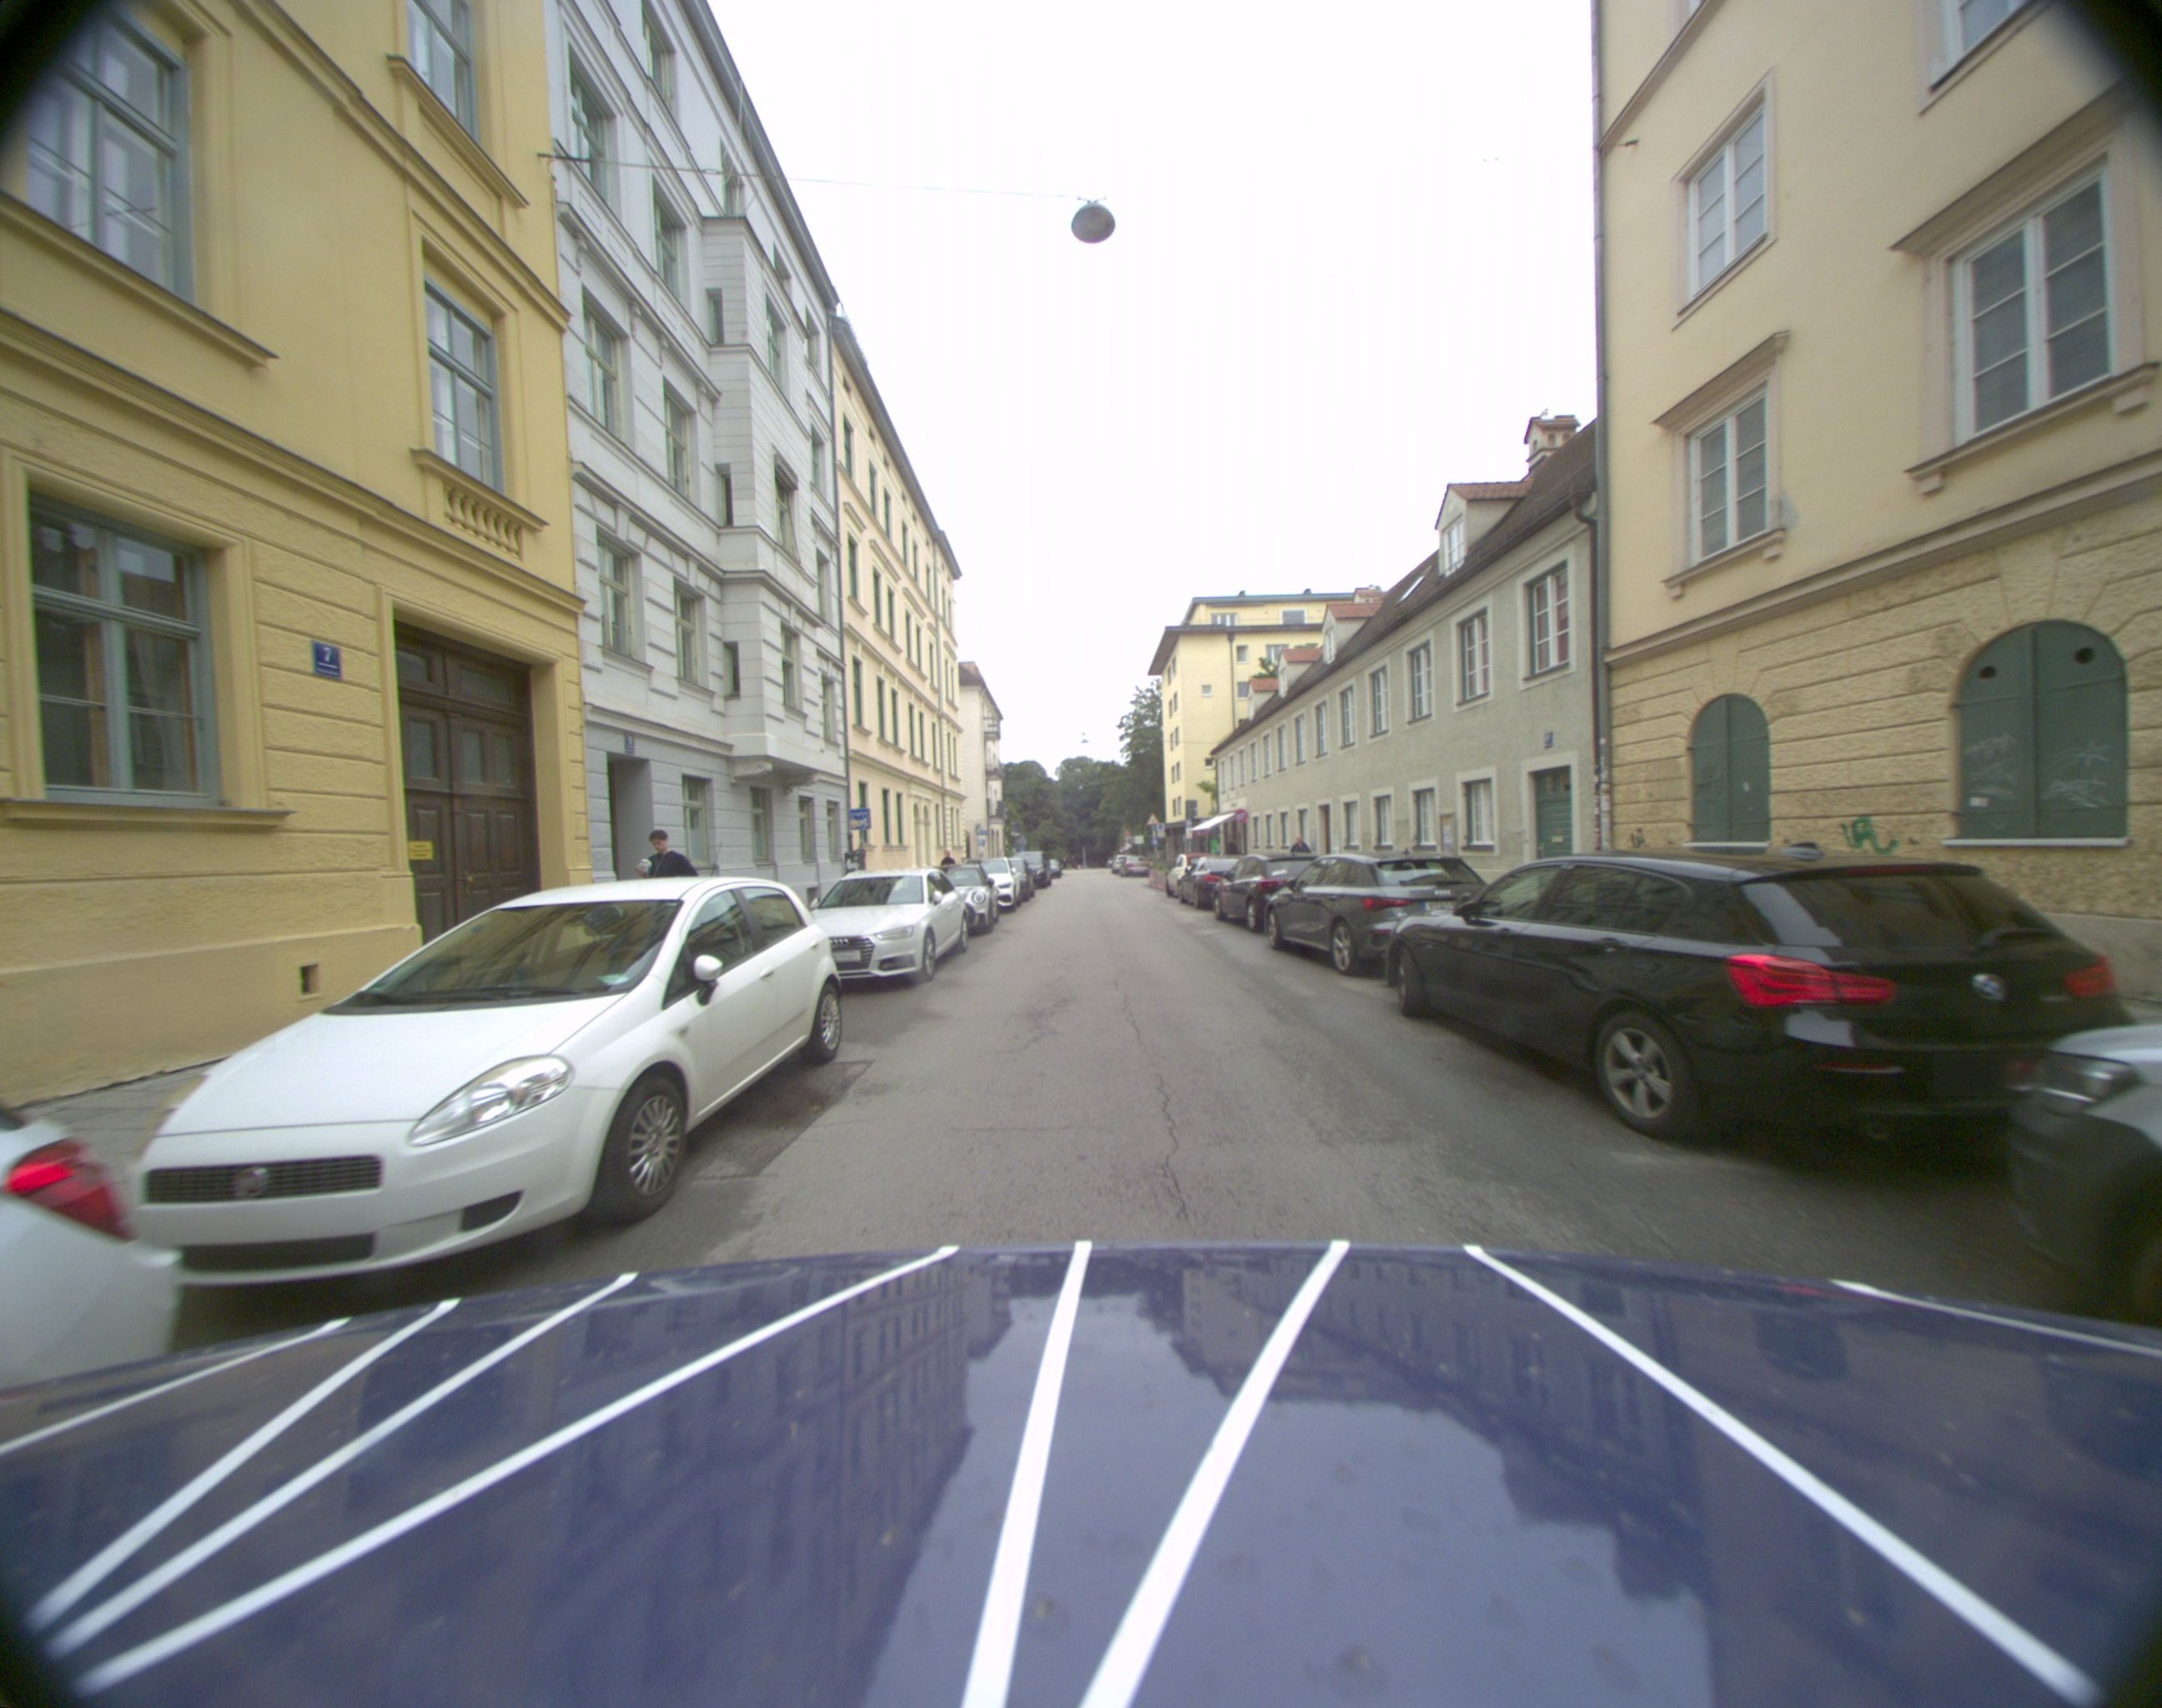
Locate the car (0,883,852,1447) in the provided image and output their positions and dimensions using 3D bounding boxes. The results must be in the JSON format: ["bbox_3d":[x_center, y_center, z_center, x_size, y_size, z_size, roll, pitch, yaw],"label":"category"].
[{"bbox_3d":[-2.764,1.021,4.339,1.712,1.446,4.095,-3,1,-2],"label":"car"}]

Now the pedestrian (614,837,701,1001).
[{"bbox_3d":[-5.268,0.781,9.493,0.671,1.969,0.708,1,2,1],"label":"pedestrian"}]

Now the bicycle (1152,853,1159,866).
[{"bbox_3d":[7.485,0.547,76.412,0.563,1.203,1.854,-3,1,3],"label":"bicycle"}]

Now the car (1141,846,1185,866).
[{"bbox_3d":[9.166,0.235,85.184,4.422,1.990,1.933,-2,2,-14],"label":"car"}]

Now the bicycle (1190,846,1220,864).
[{"bbox_3d":[7.974,0.056,48.785,1.822,1.029,0.392,-4,0,3],"label":"bicycle"}]

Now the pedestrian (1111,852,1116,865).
[{"bbox_3d":[4.719,0.645,109.358,0.634,1.770,0.801,-1,-1,1],"label":"pedestrian"}]

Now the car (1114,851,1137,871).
[{"bbox_3d":[3.795,0.624,65.344,1.807,1.574,4.338,-1,-1,0],"label":"car"}]

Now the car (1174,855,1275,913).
[{"bbox_3d":[3.832,0.748,21.085,1.803,1.331,4.685,-3,0,-1],"label":"car"}]

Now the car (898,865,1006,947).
[{"bbox_3d":[-2.664,1.013,16.610,1.712,1.396,4.206,-3,1,-2],"label":"car"}]

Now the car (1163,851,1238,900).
[{"bbox_3d":[4.037,0.681,26.239,1.759,1.466,3.713,-3,0,-3],"label":"car"}]

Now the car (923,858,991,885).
[{"bbox_3d":[-8.023,1.119,49.378,4.099,1.595,1.755,-2,-1,-1],"label":"car"}]

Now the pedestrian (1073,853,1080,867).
[{"bbox_3d":[-0.550,0.732,90.814,0.639,1.662,0.774,-4,-2,1],"label":"pedestrian"}]

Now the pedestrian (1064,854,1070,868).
[{"bbox_3d":[-1.669,0.829,90.839,0.686,1.662,0.774,-4,-2,1],"label":"pedestrian"}]

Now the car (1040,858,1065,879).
[{"bbox_3d":[-2.142,1.071,57.223,1.680,1.416,4.203,-5,0,-2],"label":"car"}]

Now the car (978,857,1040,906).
[{"bbox_3d":[-2.556,0.938,27.783,1.759,1.512,4.274,-3,1,1],"label":"car"}]

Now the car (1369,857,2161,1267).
[{"bbox_3d":[3.568,0.782,4.888,1.759,1.401,4.102,-3,1,-1],"label":"car"}]

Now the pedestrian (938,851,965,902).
[{"bbox_3d":[-4.513,0.757,26.504,0.721,1.707,1.003,-2,2,-1],"label":"pedestrian"}]

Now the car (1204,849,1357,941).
[{"bbox_3d":[3.780,0.693,15.207,1.759,1.487,4.199,-3,1,-2],"label":"car"}]

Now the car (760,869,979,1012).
[{"bbox_3d":[-2.722,1.035,11.029,1.712,1.400,4.814,-3,1,1],"label":"car"}]

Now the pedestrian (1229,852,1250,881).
[{"bbox_3d":[7.317,0.555,35.069,0.805,1.283,0.693,-2,2,0],"label":"pedestrian"}]

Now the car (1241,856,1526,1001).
[{"bbox_3d":[3.535,0.761,9.810,1.821,1.433,4.130,-1,0,-3],"label":"car"}]

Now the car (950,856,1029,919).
[{"bbox_3d":[-2.653,0.929,22.957,1.747,1.574,4.466,-3,1,1],"label":"car"}]

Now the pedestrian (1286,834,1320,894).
[{"bbox_3d":[7.261,0.313,24.897,0.825,1.887,0.827,-2,2,-1],"label":"pedestrian"}]

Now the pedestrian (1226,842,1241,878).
[{"bbox_3d":[7.594,0.280,37.924,0.530,1.772,0.877,-2,2,1],"label":"pedestrian"}]

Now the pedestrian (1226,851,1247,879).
[{"bbox_3d":[7.321,0.526,35.792,0.805,1.283,0.693,-2,2,0],"label":"pedestrian"}]

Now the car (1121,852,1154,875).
[{"bbox_3d":[3.780,0.630,51.892,1.683,1.463,4.949,-1,0,-2],"label":"car"}]

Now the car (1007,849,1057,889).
[{"bbox_3d":[-2.468,0.726,39.516,2.002,1.853,5.253,-3,0,2],"label":"car"}]

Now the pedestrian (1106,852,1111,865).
[{"bbox_3d":[3.975,0.653,109.397,0.707,1.892,0.804,-1,-1,1],"label":"pedestrian"}]

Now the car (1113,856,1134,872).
[{"bbox_3d":[3.937,0.909,71.023,1.750,1.402,4.098,-1,0,0],"label":"car"}]
